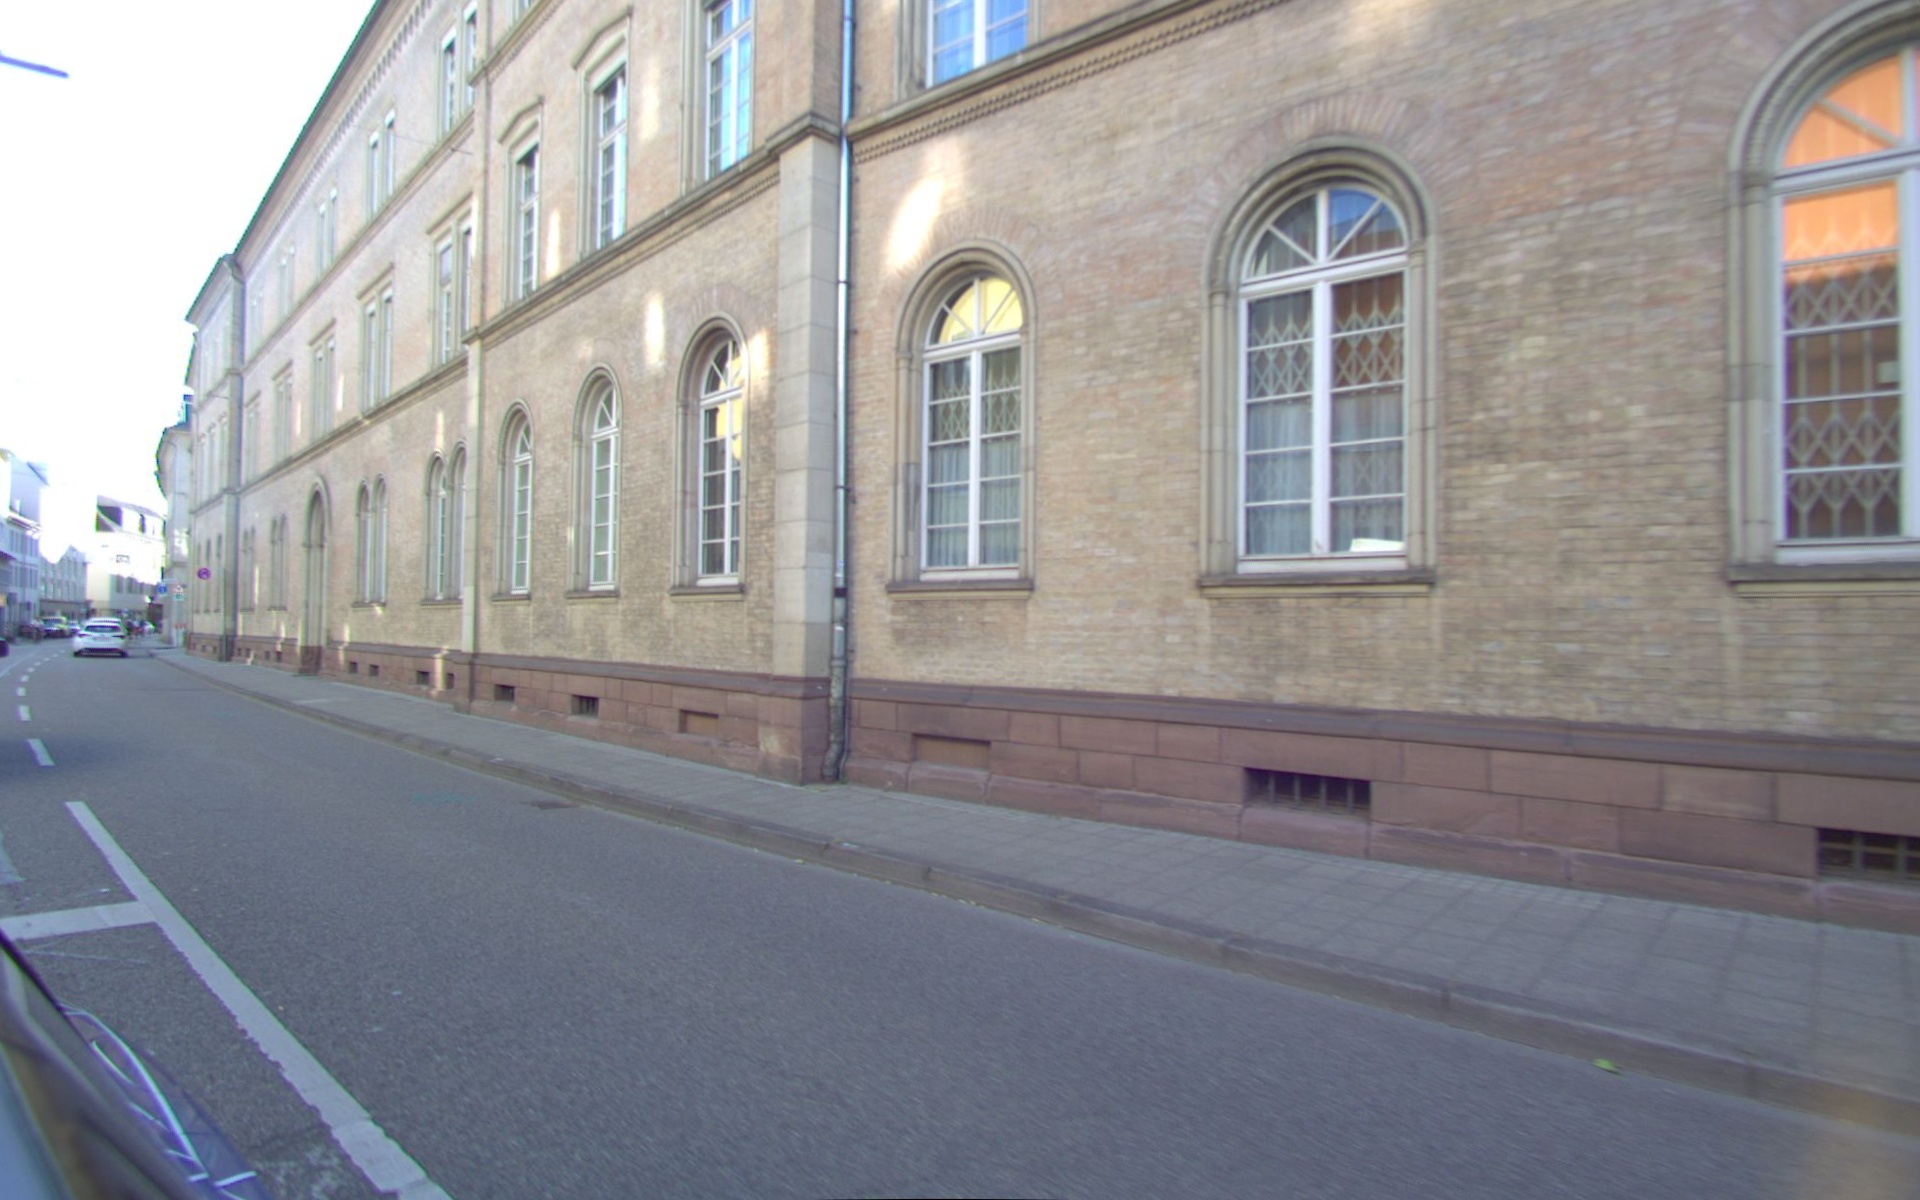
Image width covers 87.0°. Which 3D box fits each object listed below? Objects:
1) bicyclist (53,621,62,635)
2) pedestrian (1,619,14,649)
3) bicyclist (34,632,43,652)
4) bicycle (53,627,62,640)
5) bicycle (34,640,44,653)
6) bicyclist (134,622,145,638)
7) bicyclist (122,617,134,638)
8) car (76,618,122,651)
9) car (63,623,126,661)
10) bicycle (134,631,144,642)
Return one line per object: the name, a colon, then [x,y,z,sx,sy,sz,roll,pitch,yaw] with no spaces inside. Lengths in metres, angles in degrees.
bicyclist: [-77.932,2.391,87.410,0.540,1.220,0.585,2,-2,-40]
pedestrian: [-56.742,2.033,60.299,0.501,1.776,0.412,2,-3,-42]
bicyclist: [-53.357,2.435,58.623,0.343,1.116,0.368,2,-3,-40]
bicycle: [-77.945,2.917,87.406,0.540,1.091,1.967,2,-2,-40]
bicycle: [-53.354,2.693,58.612,0.343,0.729,1.119,2,-3,-40]
bicyclist: [-79.604,2.889,98.207,0.641,1.520,1.113,5,-5,-37]
bicyclist: [-57.098,1.903,69.451,0.595,1.454,0.579,2,-3,-42]
car: [-45.434,1.824,53.475,1.664,1.595,4.282,5,-4,-39]
car: [-36.738,1.765,42.946,1.863,1.487,4.551,5,-4,-41]
bicycle: [-79.621,3.504,98.132,0.641,1.014,1.879,5,-4,-37]
